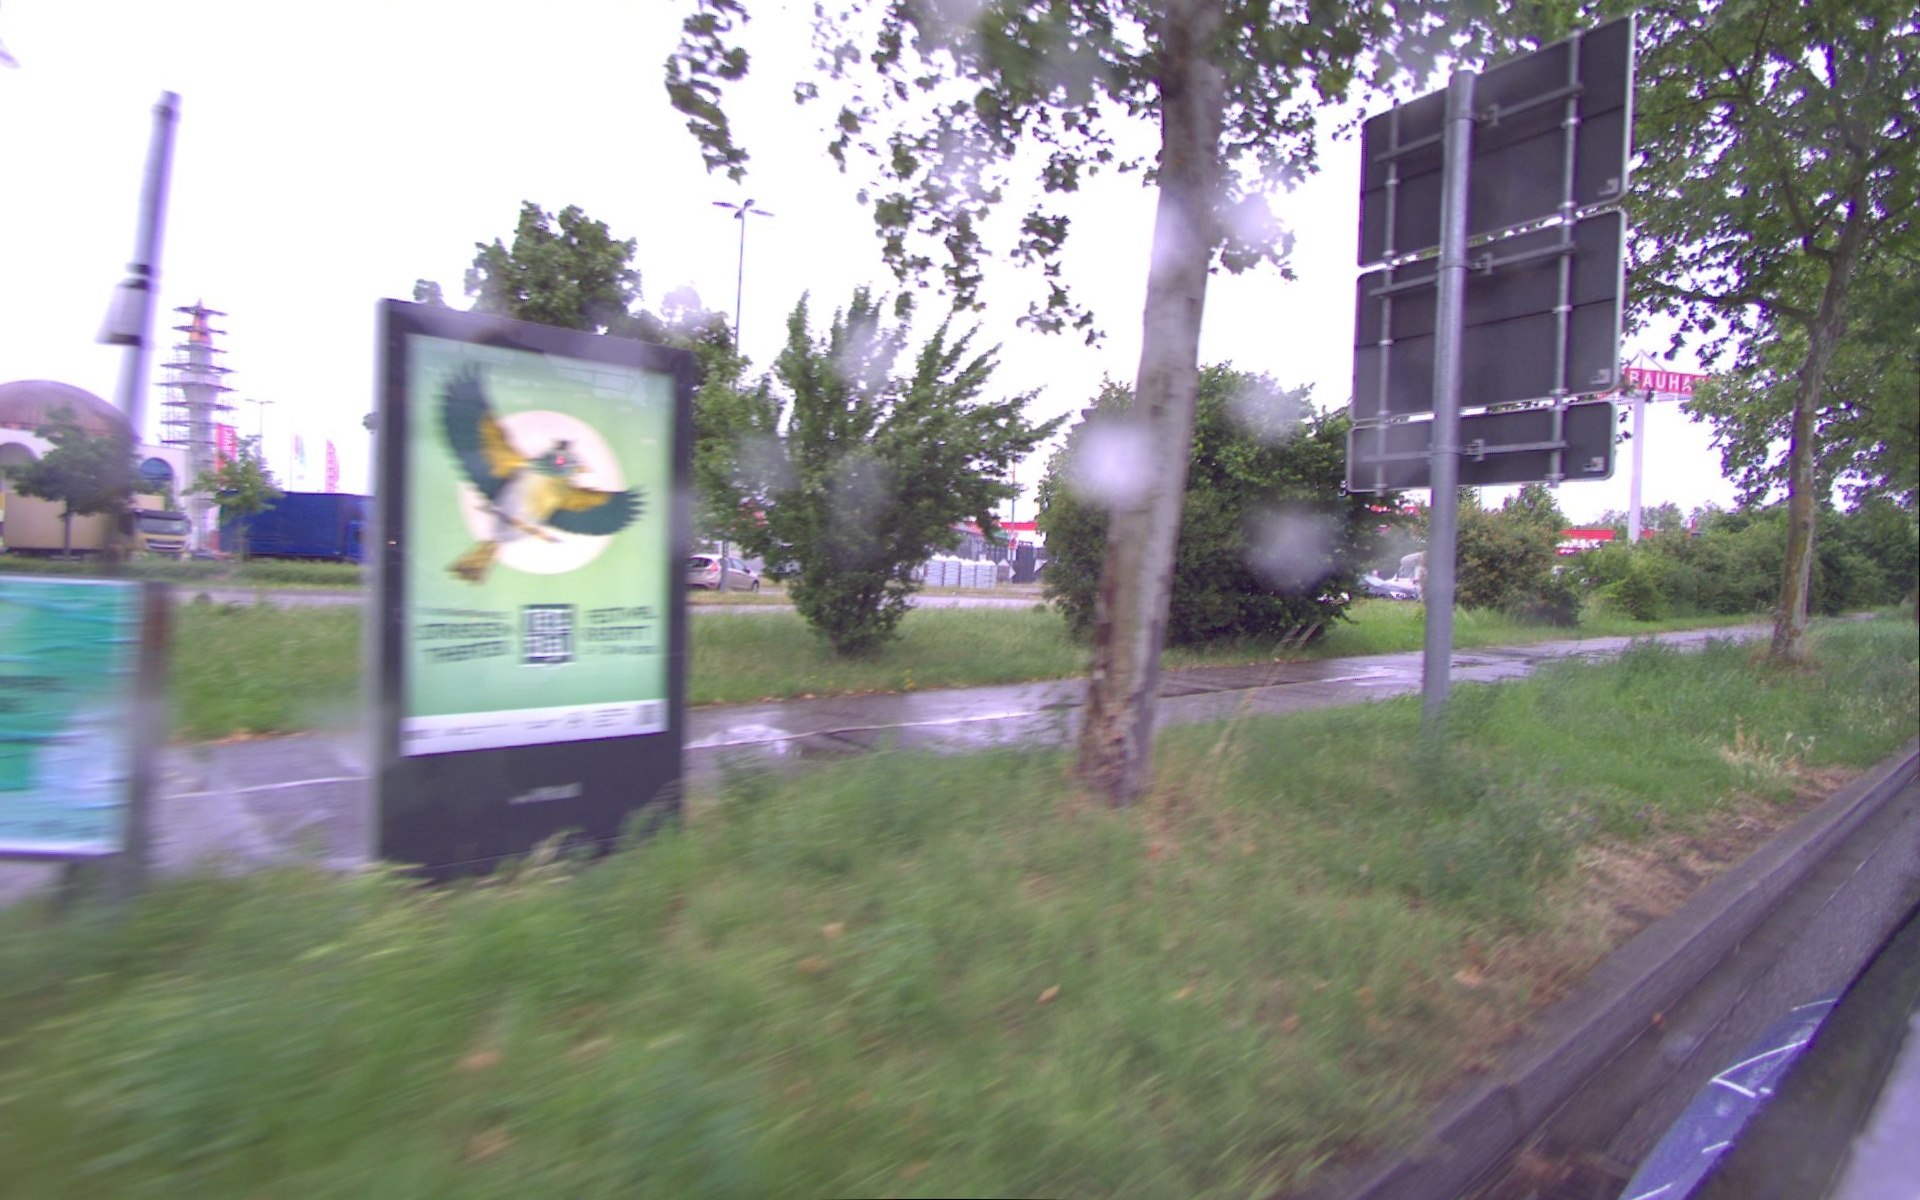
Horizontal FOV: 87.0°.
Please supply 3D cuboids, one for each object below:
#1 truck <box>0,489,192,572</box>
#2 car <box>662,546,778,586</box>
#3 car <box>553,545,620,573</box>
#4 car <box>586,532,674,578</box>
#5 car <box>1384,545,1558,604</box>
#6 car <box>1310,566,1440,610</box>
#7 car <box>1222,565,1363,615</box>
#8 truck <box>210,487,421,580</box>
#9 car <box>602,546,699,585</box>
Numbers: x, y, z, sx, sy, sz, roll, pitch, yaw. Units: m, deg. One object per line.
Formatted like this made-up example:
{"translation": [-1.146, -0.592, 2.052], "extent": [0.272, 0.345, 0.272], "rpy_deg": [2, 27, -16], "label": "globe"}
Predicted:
{"translation": [-39.203, -3.060, 45.483], "extent": [9.271, 3.513, 2.539], "rpy_deg": [1, 0, 17], "label": "truck"}
{"translation": [-8.358, -1.203, 35.589], "extent": [1.850, 1.308, 4.014], "rpy_deg": [2, 3, 26], "label": "car"}
{"translation": [-26.030, -2.855, 70.626], "extent": [2.026, 1.918, 4.773], "rpy_deg": [1, 2, 15], "label": "car"}
{"translation": [-18.458, -2.521, 56.927], "extent": [2.295, 2.390, 5.499], "rpy_deg": [1, 2, 12], "label": "car"}
{"translation": [22.290, -1.175, 44.325], "extent": [6.401, 2.391, 2.356], "rpy_deg": [3, 3, 42], "label": "car"}
{"translation": [16.046, -0.515, 39.277], "extent": [1.899, 1.571, 4.263], "rpy_deg": [-1, 3, -44], "label": "car"}
{"translation": [11.496, -0.393, 35.146], "extent": [1.899, 1.571, 4.263], "rpy_deg": [-1, 3, -44], "label": "car"}
{"translation": [-26.181, -2.689, 41.129], "extent": [7.900, 3.513, 2.541], "rpy_deg": [2, 1, 15], "label": "truck"}
{"translation": [-11.288, -1.284, 37.209], "extent": [1.838, 1.308, 4.040], "rpy_deg": [2, 2, 9], "label": "car"}
